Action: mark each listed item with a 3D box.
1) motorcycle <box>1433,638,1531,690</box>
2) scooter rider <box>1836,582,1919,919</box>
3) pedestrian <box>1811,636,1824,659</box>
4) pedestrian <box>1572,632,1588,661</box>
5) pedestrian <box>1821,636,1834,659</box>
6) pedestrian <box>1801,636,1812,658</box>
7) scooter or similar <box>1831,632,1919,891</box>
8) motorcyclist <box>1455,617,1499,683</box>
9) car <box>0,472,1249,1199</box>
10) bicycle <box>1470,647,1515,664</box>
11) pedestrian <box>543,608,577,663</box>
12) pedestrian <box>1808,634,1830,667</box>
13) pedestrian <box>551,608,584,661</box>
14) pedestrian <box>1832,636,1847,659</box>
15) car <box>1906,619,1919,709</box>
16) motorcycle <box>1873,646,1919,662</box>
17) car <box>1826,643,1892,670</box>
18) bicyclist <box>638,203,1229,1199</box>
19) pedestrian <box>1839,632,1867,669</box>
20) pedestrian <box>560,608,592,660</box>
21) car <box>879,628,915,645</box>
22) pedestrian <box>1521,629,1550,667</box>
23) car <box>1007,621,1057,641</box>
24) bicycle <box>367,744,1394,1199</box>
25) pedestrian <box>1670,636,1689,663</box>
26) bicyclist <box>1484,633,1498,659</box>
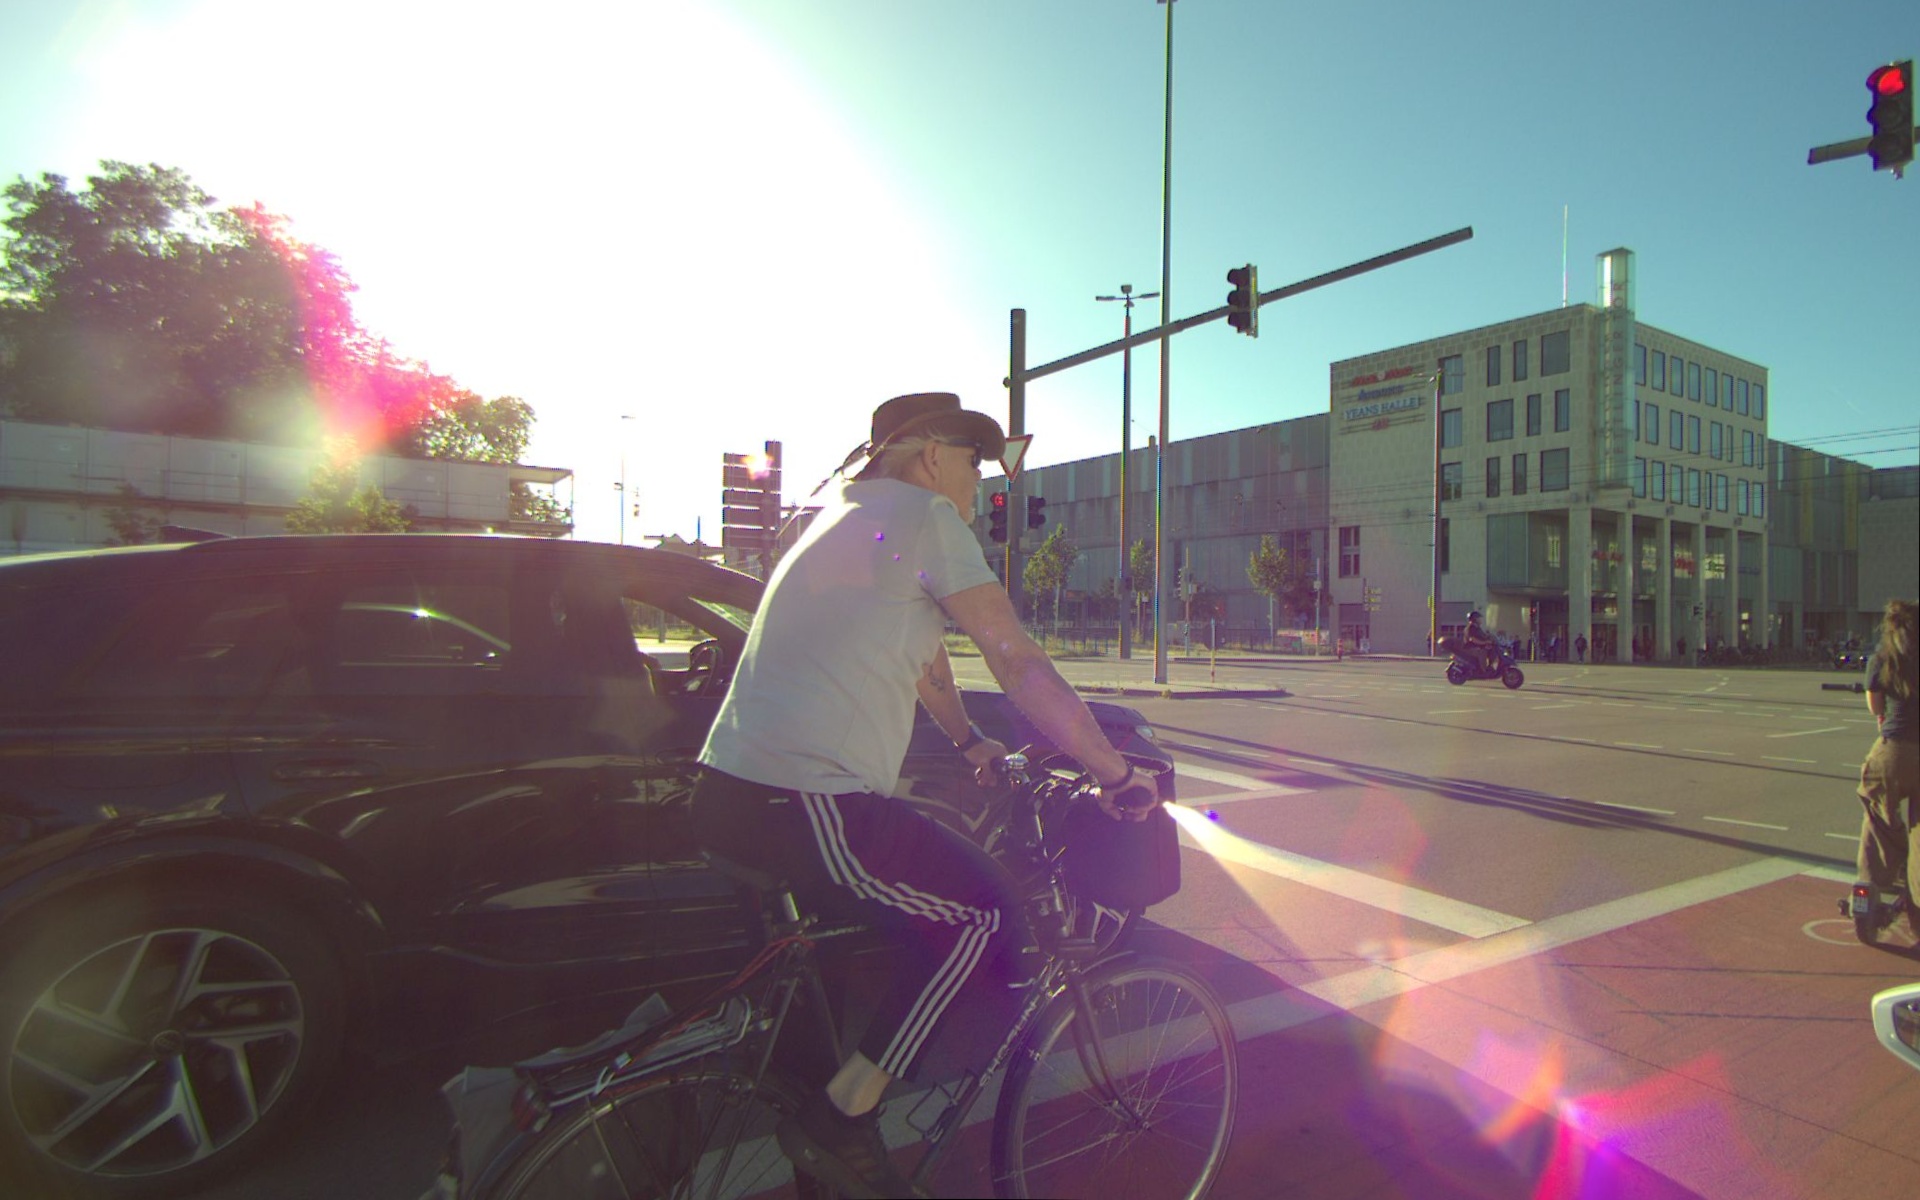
[{"bbox_3d":[12.033,1.453,23.213,0.643,1.115,1.940,1,-1,-37],"label":"motorcycle"},{"bbox_3d":[4.590,0.697,4.787,0.445,1.550,0.548,1,-1,-38],"label":"scooter rider"},{"bbox_3d":[67.189,3.728,78.705,0.615,1.752,0.472,2,0,4],"label":"pedestrian"},{"bbox_3d":[36.272,2.735,58.801,0.622,1.667,0.589,1,-1,-30],"label":"pedestrian"},{"bbox_3d":[69.362,3.801,80.287,0.616,1.752,0.471,2,0,-1],"label":"pedestrian"},{"bbox_3d":[67.817,3.755,80.461,0.510,1.752,0.472,2,0,9],"label":"pedestrian"},{"bbox_3d":[4.410,0.718,4.772,0.832,1.122,0.303,2,-1,-42],"label":"scooter or similar"},{"bbox_3d":[11.997,1.137,23.312,0.594,1.499,0.744,1,-1,-37],"label":"motorcyclist"},{"bbox_3d":[-1.259,0.611,4.067,4.613,1.729,2.153,1,0,-32],"label":"car"},{"bbox_3d":[30.529,3.160,57.602,2.188,0.915,0.633,-1,-2,45],"label":"bicycle"},{"bbox_3d":[-12.236,1.071,30.736,0.736,1.632,0.716,2,0,-5],"label":"pedestrian"},{"bbox_3d":[44.304,2.592,51.788,0.612,1.710,0.697,1,-1,-29],"label":"pedestrian"},{"bbox_3d":[-12.296,1.073,31.473,0.736,1.632,0.716,2,0,-5],"label":"pedestrian"},{"bbox_3d":[68.521,3.733,78.255,0.681,1.752,0.472,2,0,9],"label":"pedestrian"},{"bbox_3d":[19.333,1.133,16.755,1.985,1.585,5.038,2,-2,-42],"label":"car"},{"bbox_3d":[70.461,4.055,75.473,1.106,1.006,2.582,2,0,-38],"label":"motorcycle"},{"bbox_3d":[49.747,3.094,55.573,3.975,1.375,1.668,1,-1,-31],"label":"car"},{"bbox_3d":[-0.087,0.335,1.919,0.842,1.723,0.802,1,-1,-30],"label":"bicyclist"},{"bbox_3d":[45.734,2.572,51.455,0.529,1.889,0.943,1,-1,-13],"label":"pedestrian"},{"bbox_3d":[-12.373,1.075,32.369,0.736,1.632,0.716,2,0,-5],"label":"pedestrian"},{"bbox_3d":[-6.428,3.726,102.280,1.805,1.706,4.379,1,-2,-32],"label":"car"},{"bbox_3d":[26.171,2.187,45.692,0.994,1.697,0.818,1,-1,-33],"label":"pedestrian"},{"bbox_3d":[6.048,2.617,85.277,1.805,1.706,4.819,1,-2,-32],"label":"car"},{"bbox_3d":[-0.071,0.952,1.964,1.868,1.162,0.735,1,-1,-30],"label":"bicycle"},{"bbox_3d":[44.839,3.096,62.584,0.616,1.660,0.776,1,-1,-17],"label":"pedestrian"},{"bbox_3d":[30.508,2.618,57.688,0.624,1.467,0.581,2,-1,-44],"label":"bicyclist"}]
